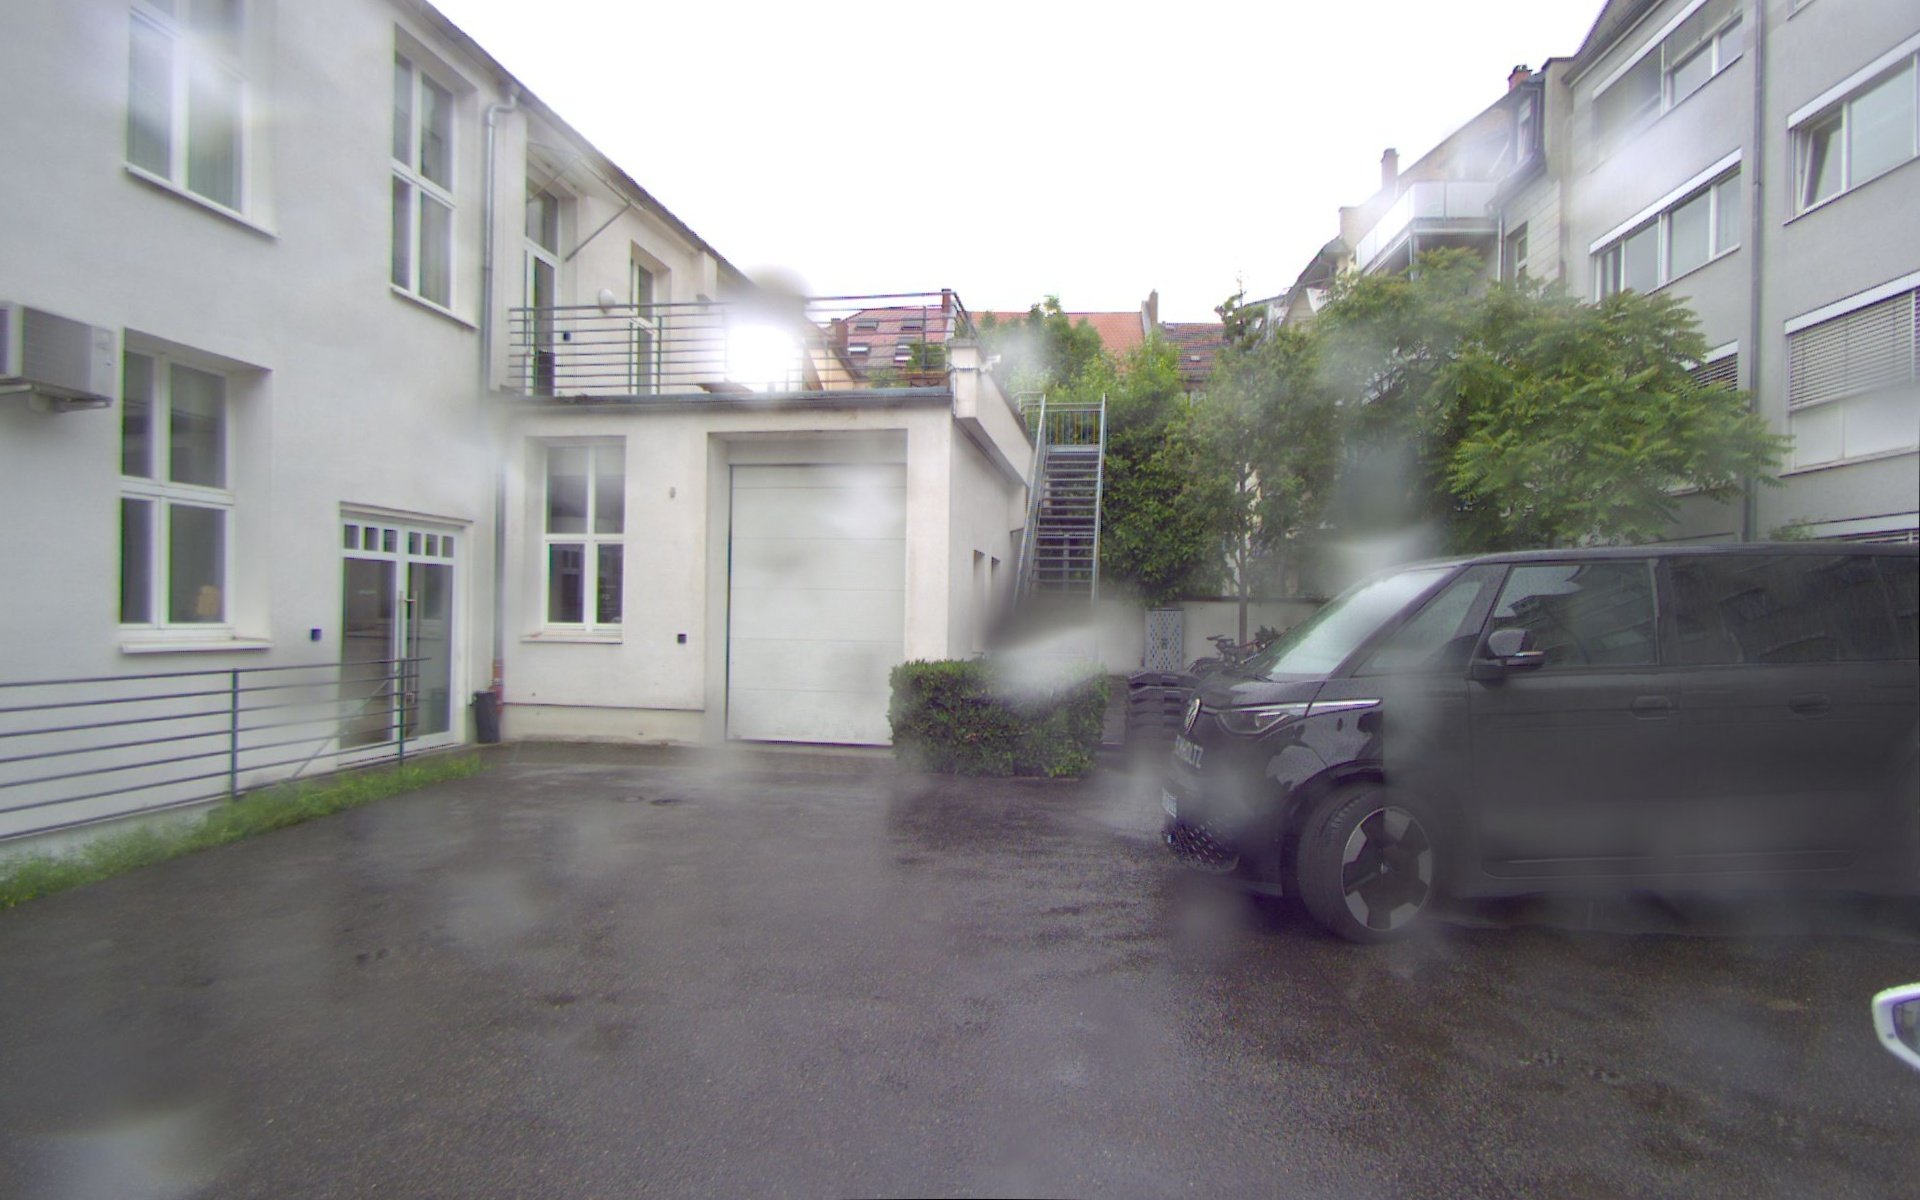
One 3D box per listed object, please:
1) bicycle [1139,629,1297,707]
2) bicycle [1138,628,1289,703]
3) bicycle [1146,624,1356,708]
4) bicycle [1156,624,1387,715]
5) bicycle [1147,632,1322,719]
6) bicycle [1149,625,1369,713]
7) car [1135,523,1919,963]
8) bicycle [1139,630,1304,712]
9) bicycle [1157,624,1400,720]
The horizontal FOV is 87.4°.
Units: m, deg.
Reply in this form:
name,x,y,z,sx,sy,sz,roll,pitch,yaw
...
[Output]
name,x,y,z,sx,sy,sz,roll,pitch,yaw
bicycle,3.945,1.037,15.498,2.288,1.119,0.633,1,0,8
bicycle,4.037,1.040,16.140,2.288,1.119,0.633,1,0,8
bicycle,4.598,1.035,16.052,3.159,1.258,0.631,0,-1,7
bicycle,4.489,0.994,14.668,3.159,1.258,0.631,0,-1,7
bicycle,3.787,1.032,14.004,2.288,1.119,0.633,1,0,8
bicycle,4.514,1.039,15.349,3.159,1.258,0.631,0,-1,7
car,3.339,0.663,5.503,4.432,1.922,2.047,1,-2,1
bicycle,3.828,1.033,14.843,2.288,1.119,0.633,1,0,8
bicycle,4.379,0.982,13.979,3.159,1.258,0.631,0,-1,7
